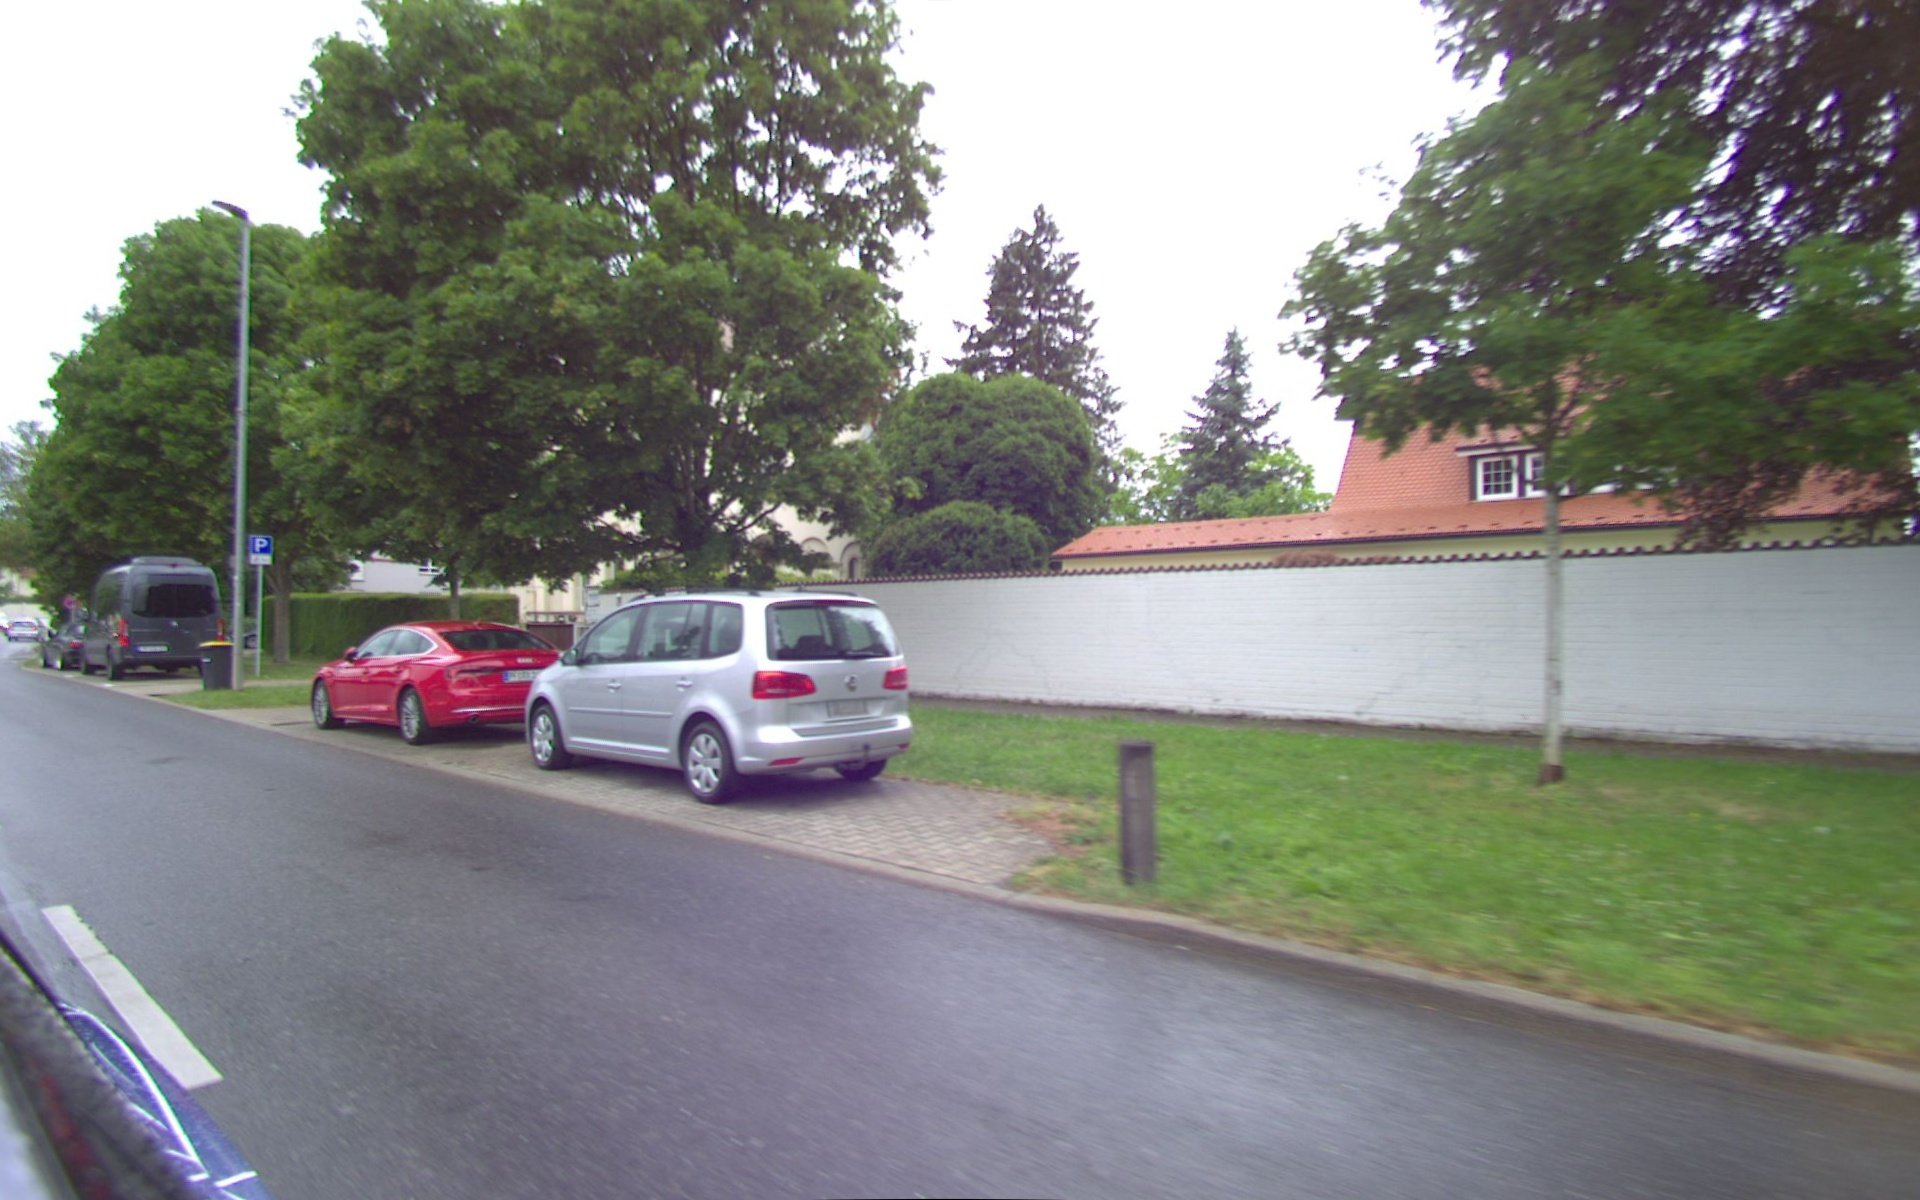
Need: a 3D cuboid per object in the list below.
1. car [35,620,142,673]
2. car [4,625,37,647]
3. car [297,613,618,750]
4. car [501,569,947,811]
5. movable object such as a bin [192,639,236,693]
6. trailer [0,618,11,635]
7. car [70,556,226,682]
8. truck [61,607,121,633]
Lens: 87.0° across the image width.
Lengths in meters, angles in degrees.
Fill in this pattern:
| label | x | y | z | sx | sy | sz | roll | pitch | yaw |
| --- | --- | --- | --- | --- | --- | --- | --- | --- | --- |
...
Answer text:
| label | x | y | z | sx | sy | sz | roll | pitch | yaw |
| --- | --- | --- | --- | --- | --- | --- | --- | --- | --- |
| car | -24.795 | 1.288 | 28.766 | 3.823 | 1.419 | 1.705 | -1 | -2 | 40 |
| car | -64.564 | 2.478 | 69.563 | 1.575 | 1.475 | 3.456 | 1 | -2 | -43 |
| car | -6.417 | 0.896 | 12.699 | 4.553 | 1.414 | 1.973 | -1 | -2 | 40 |
| car | -2.250 | 0.663 | 8.948 | 4.231 | 1.640 | 1.738 | -1 | -2 | 42 |
| movable object such as a bin | -13.528 | 1.185 | 18.348 | 0.550 | 0.960 | 0.551 | -2 | -2 | 44 |
| trailer | -92.118 | 2.489 | 96.465 | 4.424 | 1.555 | 1.972 | -1 | -2 | 42 |
| car | -19.989 | 0.479 | 24.790 | 5.935 | 2.749 | 1.973 | -2 | -1 | 41 |
| truck | -76.943 | 1.784 | 89.770 | 2.185 | 2.220 | 6.485 | 1 | -2 | -24 |
